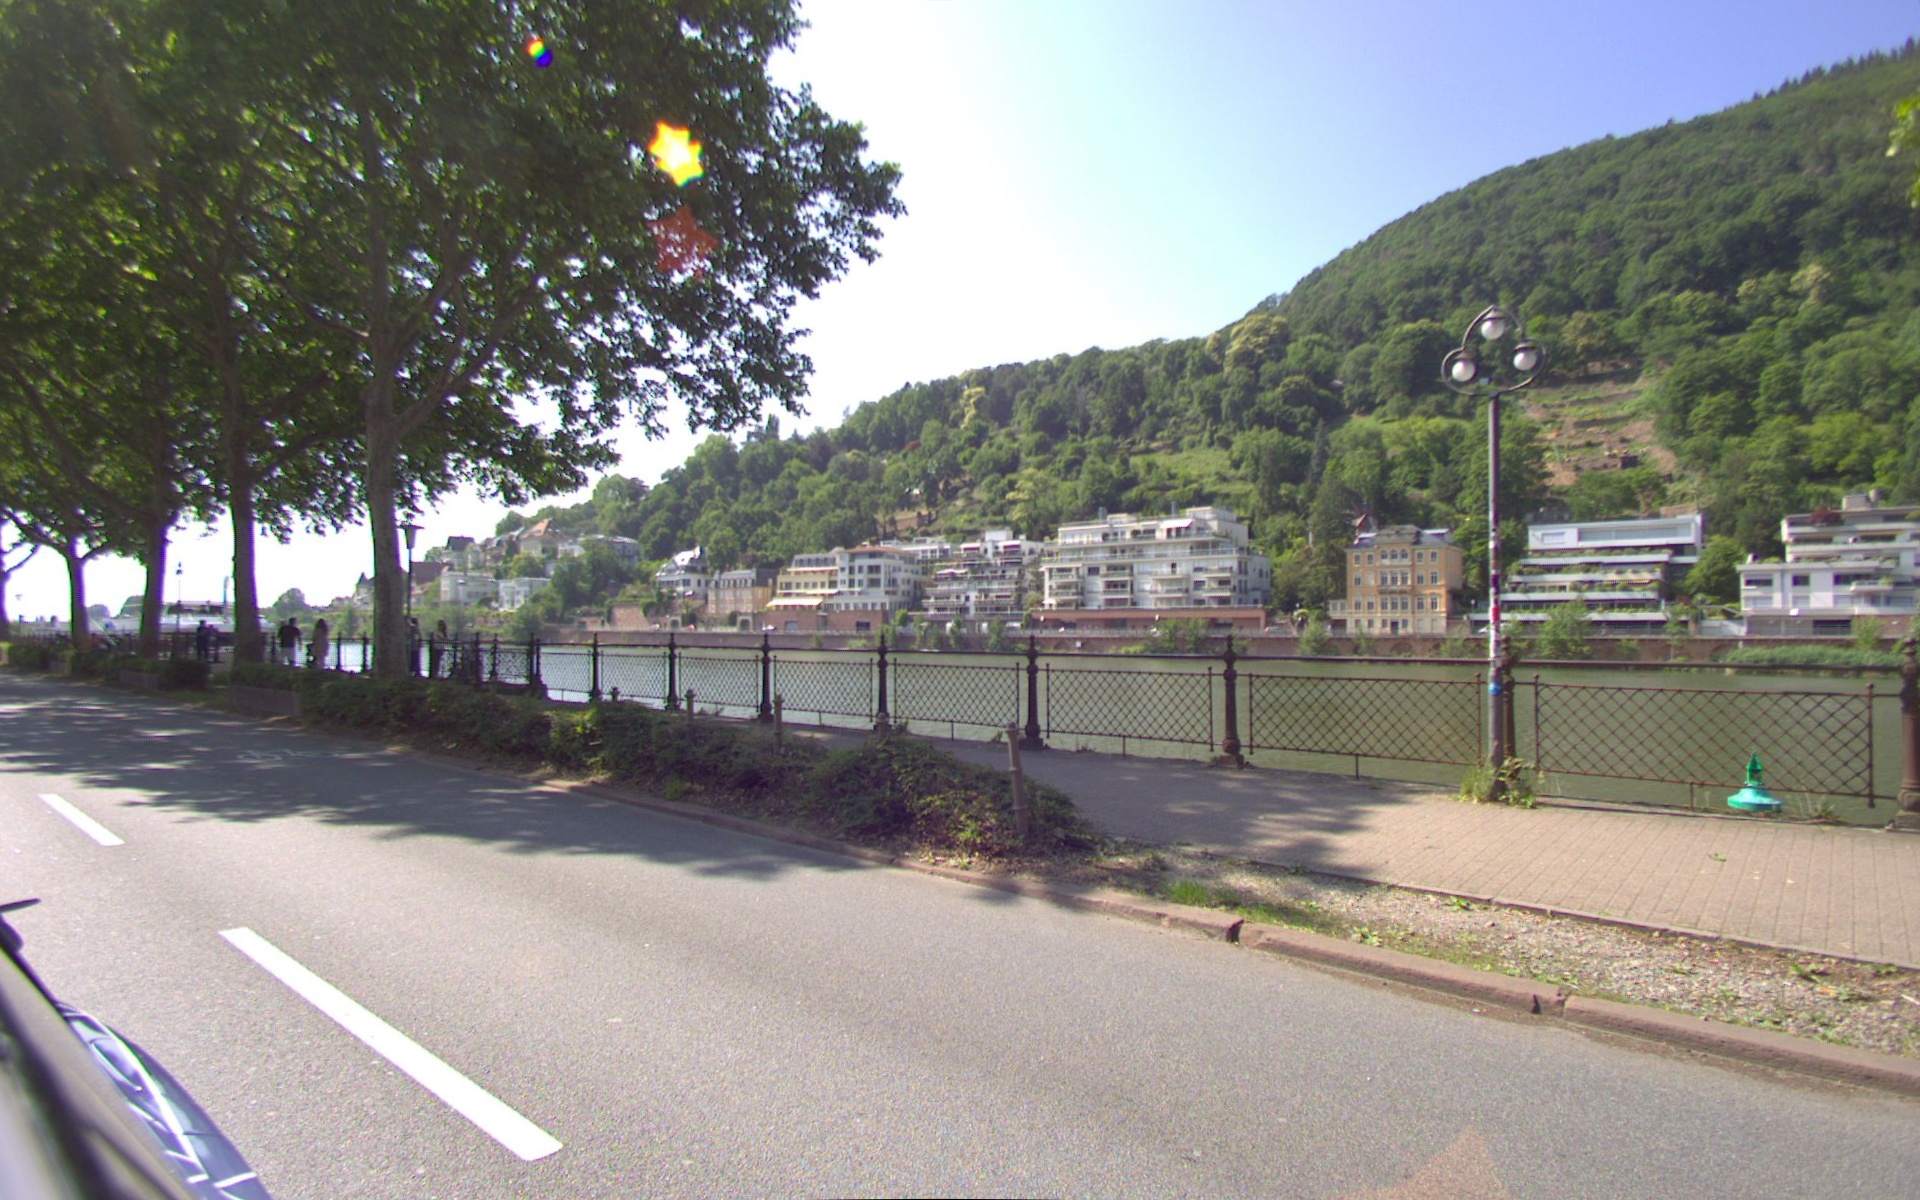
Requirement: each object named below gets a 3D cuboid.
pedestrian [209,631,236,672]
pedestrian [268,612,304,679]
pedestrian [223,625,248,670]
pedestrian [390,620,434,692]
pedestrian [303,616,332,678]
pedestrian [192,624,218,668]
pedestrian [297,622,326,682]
[{"bbox_3d":[-28.888,2.009,39.640,0.705,1.615,0.696,-1,-2,43],"label":"pedestrian"},{"bbox_3d":[-19.581,1.322,29.389,0.805,1.884,0.634,-2,-4,42],"label":"pedestrian"},{"bbox_3d":[-29.558,1.946,41.287,0.705,1.811,0.696,-1,-2,43],"label":"pedestrian"},{"bbox_3d":[-13.643,1.373,25.198,0.873,1.730,0.686,-1,0,40],"label":"pedestrian"},{"bbox_3d":[-18.821,1.378,29.653,0.592,1.782,0.511,-2,-4,42],"label":"pedestrian"},{"bbox_3d":[-30.119,1.818,40.358,0.705,1.744,0.696,-1,-2,43],"label":"pedestrian"},{"bbox_3d":[-19.235,1.534,30.012,0.455,1.732,0.608,-1,0,41],"label":"pedestrian"}]
